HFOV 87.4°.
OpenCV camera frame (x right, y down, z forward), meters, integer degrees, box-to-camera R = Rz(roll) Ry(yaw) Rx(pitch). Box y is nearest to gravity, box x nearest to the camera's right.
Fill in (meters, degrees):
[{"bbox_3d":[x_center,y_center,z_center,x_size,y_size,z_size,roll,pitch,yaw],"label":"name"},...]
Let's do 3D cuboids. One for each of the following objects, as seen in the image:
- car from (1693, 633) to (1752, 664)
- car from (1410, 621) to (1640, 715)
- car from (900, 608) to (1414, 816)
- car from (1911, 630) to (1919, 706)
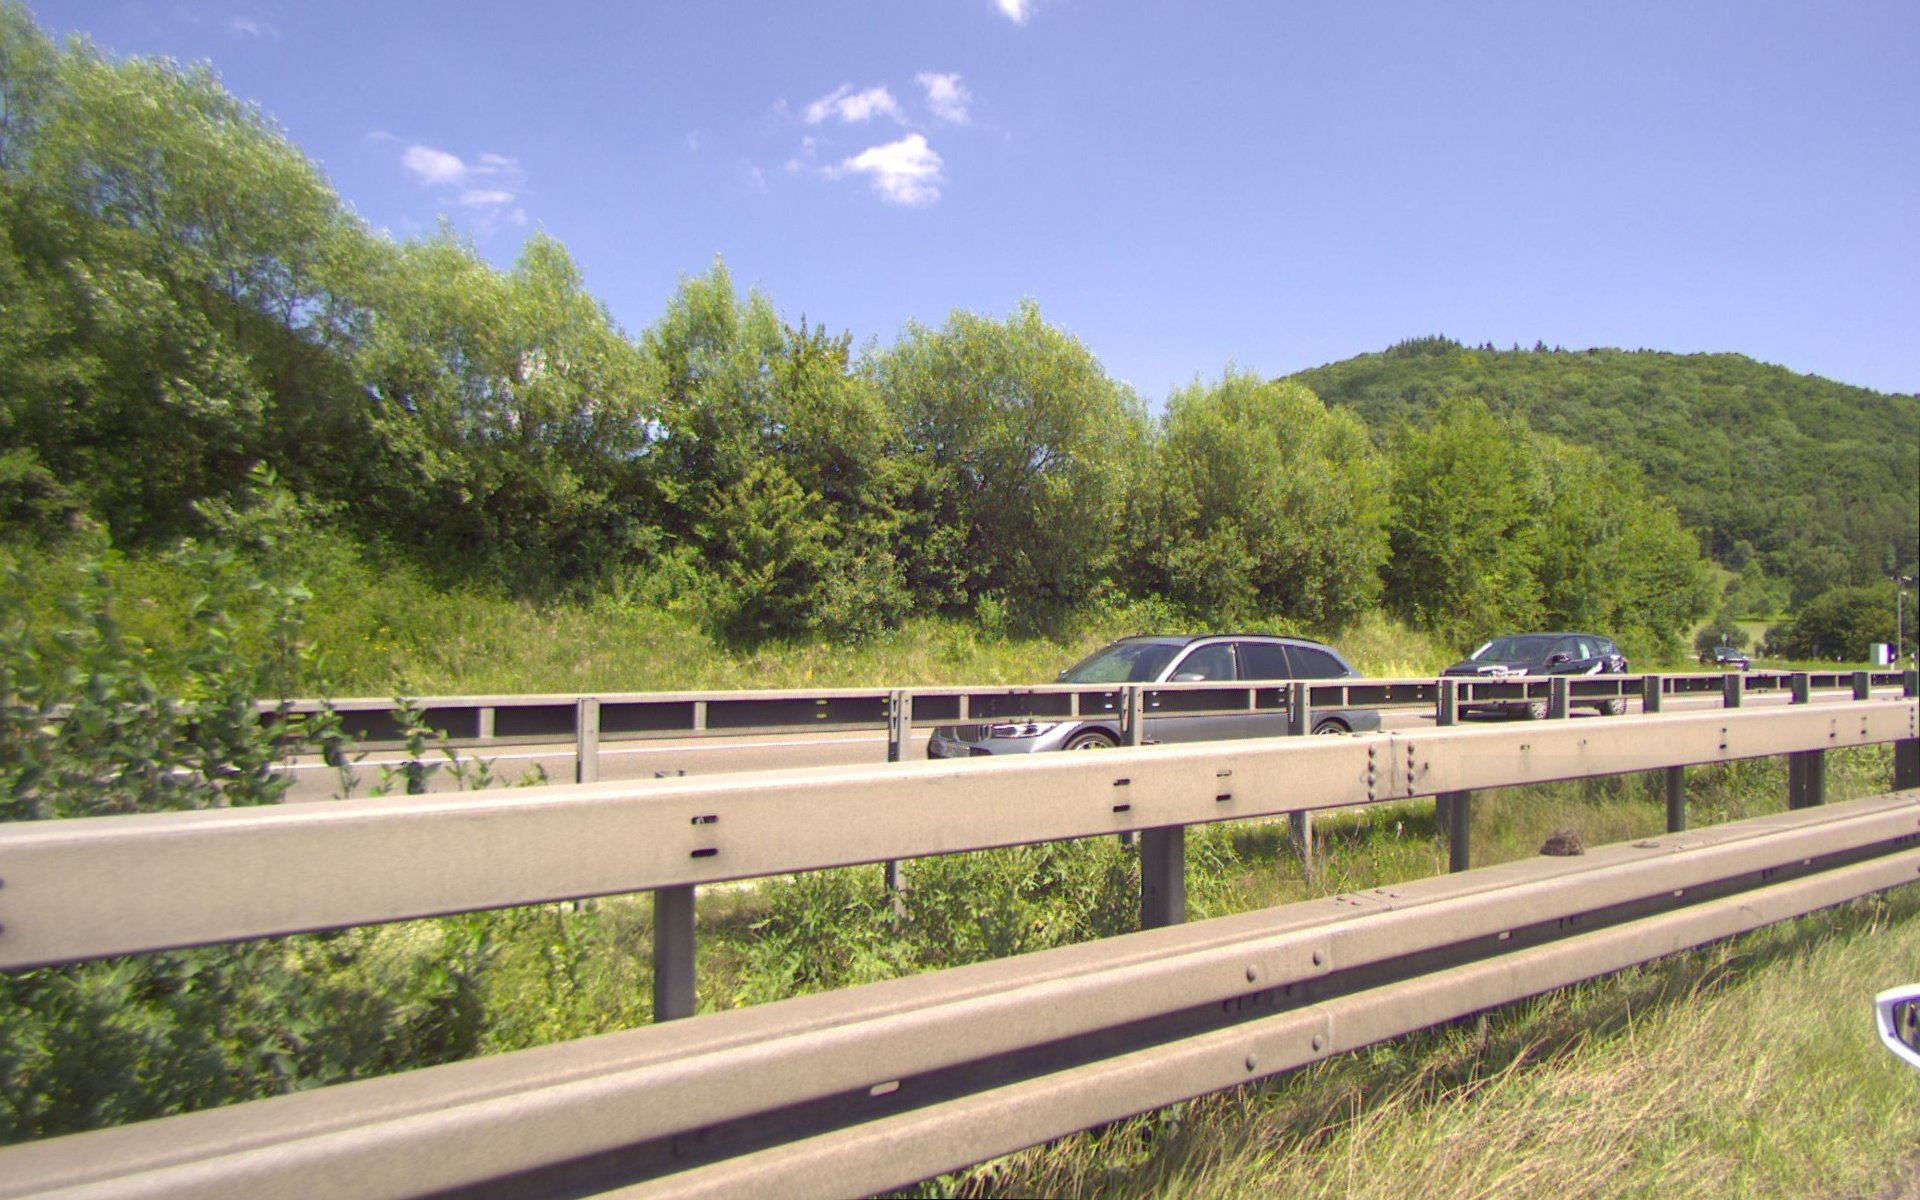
[{"bbox_3d":[48.728,3.083,64.296,1.777,1.862,4.001,1,-1,18],"label":"car"},{"bbox_3d":[11.047,1.277,19.575,4.507,1.642,1.914,2,-2,-30],"label":"car"},{"bbox_3d":[1.940,0.911,9.479,4.622,1.539,1.984,2,-2,-30],"label":"car"},{"bbox_3d":[22.890,1.471,21.904,4.223,1.635,1.985,2,-4,-30],"label":"car"}]
